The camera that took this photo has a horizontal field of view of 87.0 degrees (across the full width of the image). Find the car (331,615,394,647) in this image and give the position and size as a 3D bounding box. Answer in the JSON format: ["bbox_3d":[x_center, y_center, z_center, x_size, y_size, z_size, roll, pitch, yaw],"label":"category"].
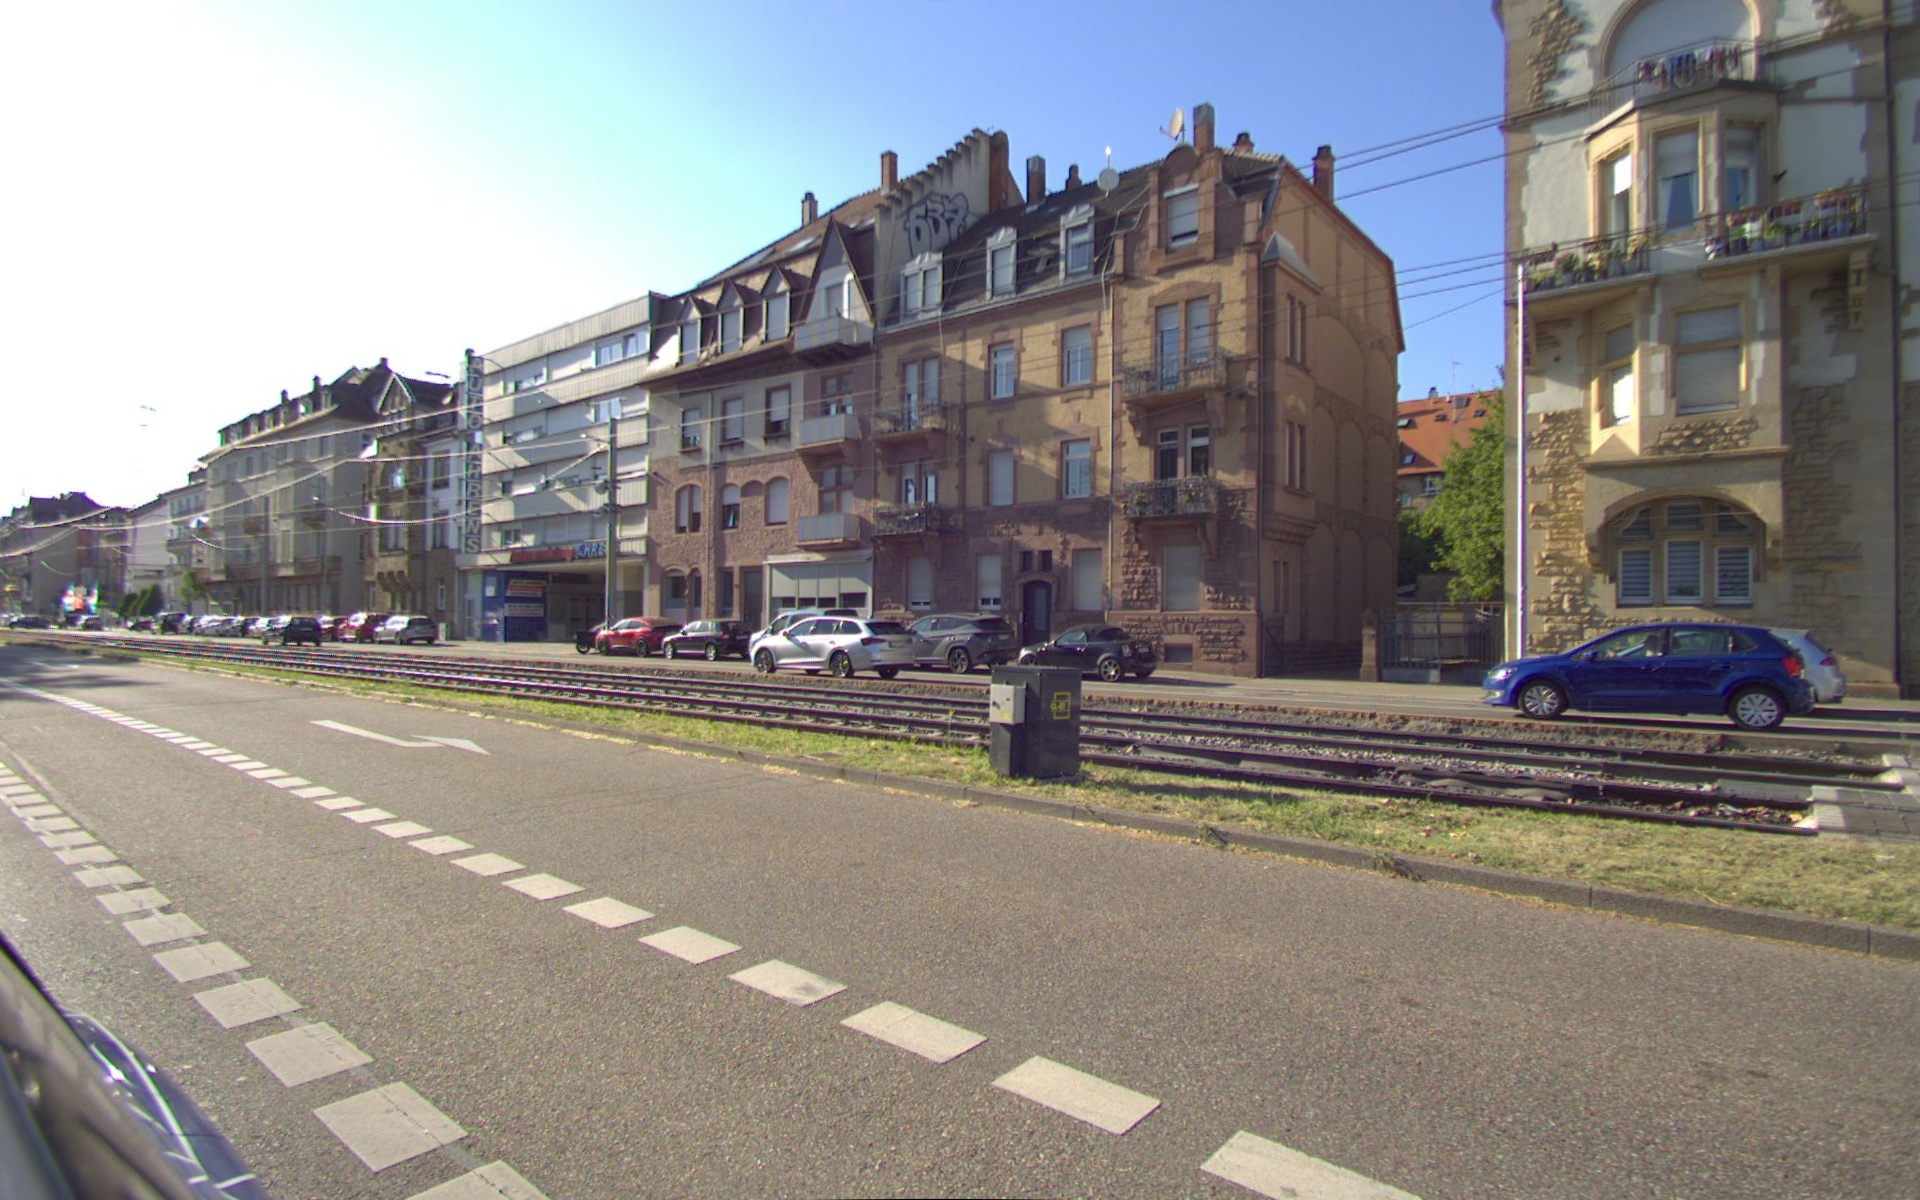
[{"bbox_3d":[-33.978,1.736,57.547,4.260,1.700,1.837,-1,0,41],"label":"car"}]

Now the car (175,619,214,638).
[{"bbox_3d":[-61.929,2.306,81.880,3.820,1.490,1.779,-1,-1,40],"label":"car"}]

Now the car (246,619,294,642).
[{"bbox_3d":[-46.762,2.053,68.584,3.820,1.490,1.779,-1,-1,40],"label":"car"}]

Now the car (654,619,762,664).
[{"bbox_3d":[-9.032,1.450,36.150,3.924,1.448,1.678,-1,1,39],"label":"car"}]

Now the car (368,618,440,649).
[{"bbox_3d":[-29.707,1.768,54.017,4.377,1.510,1.838,-1,0,39],"label":"car"}]

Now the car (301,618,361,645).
[{"bbox_3d":[-37.841,1.872,60.861,3.720,1.507,1.737,-1,0,34],"label":"car"}]

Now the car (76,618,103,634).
[{"bbox_3d":[-90.985,2.707,105.772,3.386,1.583,1.663,-1,0,40],"label":"car"}]

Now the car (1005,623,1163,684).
[{"bbox_3d":[3.119,1.310,25.813,3.722,1.364,1.606,-1,1,39],"label":"car"}]

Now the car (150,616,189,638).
[{"bbox_3d":[-66.594,2.274,85.243,3.913,1.750,1.852,-1,-1,40],"label":"car"}]

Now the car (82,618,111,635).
[{"bbox_3d":[-86.960,2.682,101.920,3.405,1.644,1.656,-1,-1,40],"label":"car"}]

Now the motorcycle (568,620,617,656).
[{"bbox_3d":[-15.203,1.562,41.887,0.628,1.433,1.836,-2,-1,40],"label":"motorcycle"}]

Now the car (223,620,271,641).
[{"bbox_3d":[-50.817,2.164,72.107,3.818,1.441,1.780,-1,-1,38],"label":"car"}]

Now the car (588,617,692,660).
[{"bbox_3d":[-12.486,1.467,39.358,4.206,1.510,1.838,-1,1,39],"label":"car"}]

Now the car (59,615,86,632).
[{"bbox_3d":[-98.666,2.634,112.455,3.878,1.800,1.706,-1,0,40],"label":"car"}]

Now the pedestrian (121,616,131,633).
[{"bbox_3d":[-90.164,2.652,109.407,0.677,1.803,0.716,-1,-2,39],"label":"pedestrian"}]

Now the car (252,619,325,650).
[{"bbox_3d":[-32.881,1.664,49.558,4.161,1.468,1.802,-1,-2,39],"label":"car"}]

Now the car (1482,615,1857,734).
[{"bbox_3d":[9.893,0.970,14.471,4.146,1.468,1.804,-1,-2,34],"label":"car"}]

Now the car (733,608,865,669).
[{"bbox_3d":[-5.306,1.203,32.951,4.417,1.772,1.866,-1,1,42],"label":"car"}]

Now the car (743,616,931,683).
[{"bbox_3d":[-3.005,1.133,24.227,4.534,1.468,1.802,-1,-2,38],"label":"car"}]

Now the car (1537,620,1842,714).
[{"bbox_3d":[12.835,1.113,18.046,4.217,1.441,1.693,-1,0,38],"label":"car"}]

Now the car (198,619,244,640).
[{"bbox_3d":[-54.359,2.141,74.432,3.529,1.457,1.625,-1,-1,33],"label":"car"}]

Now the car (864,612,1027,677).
[{"bbox_3d":[-0.465,1.218,28.940,4.498,1.635,1.838,-1,1,39],"label":"car"}]
